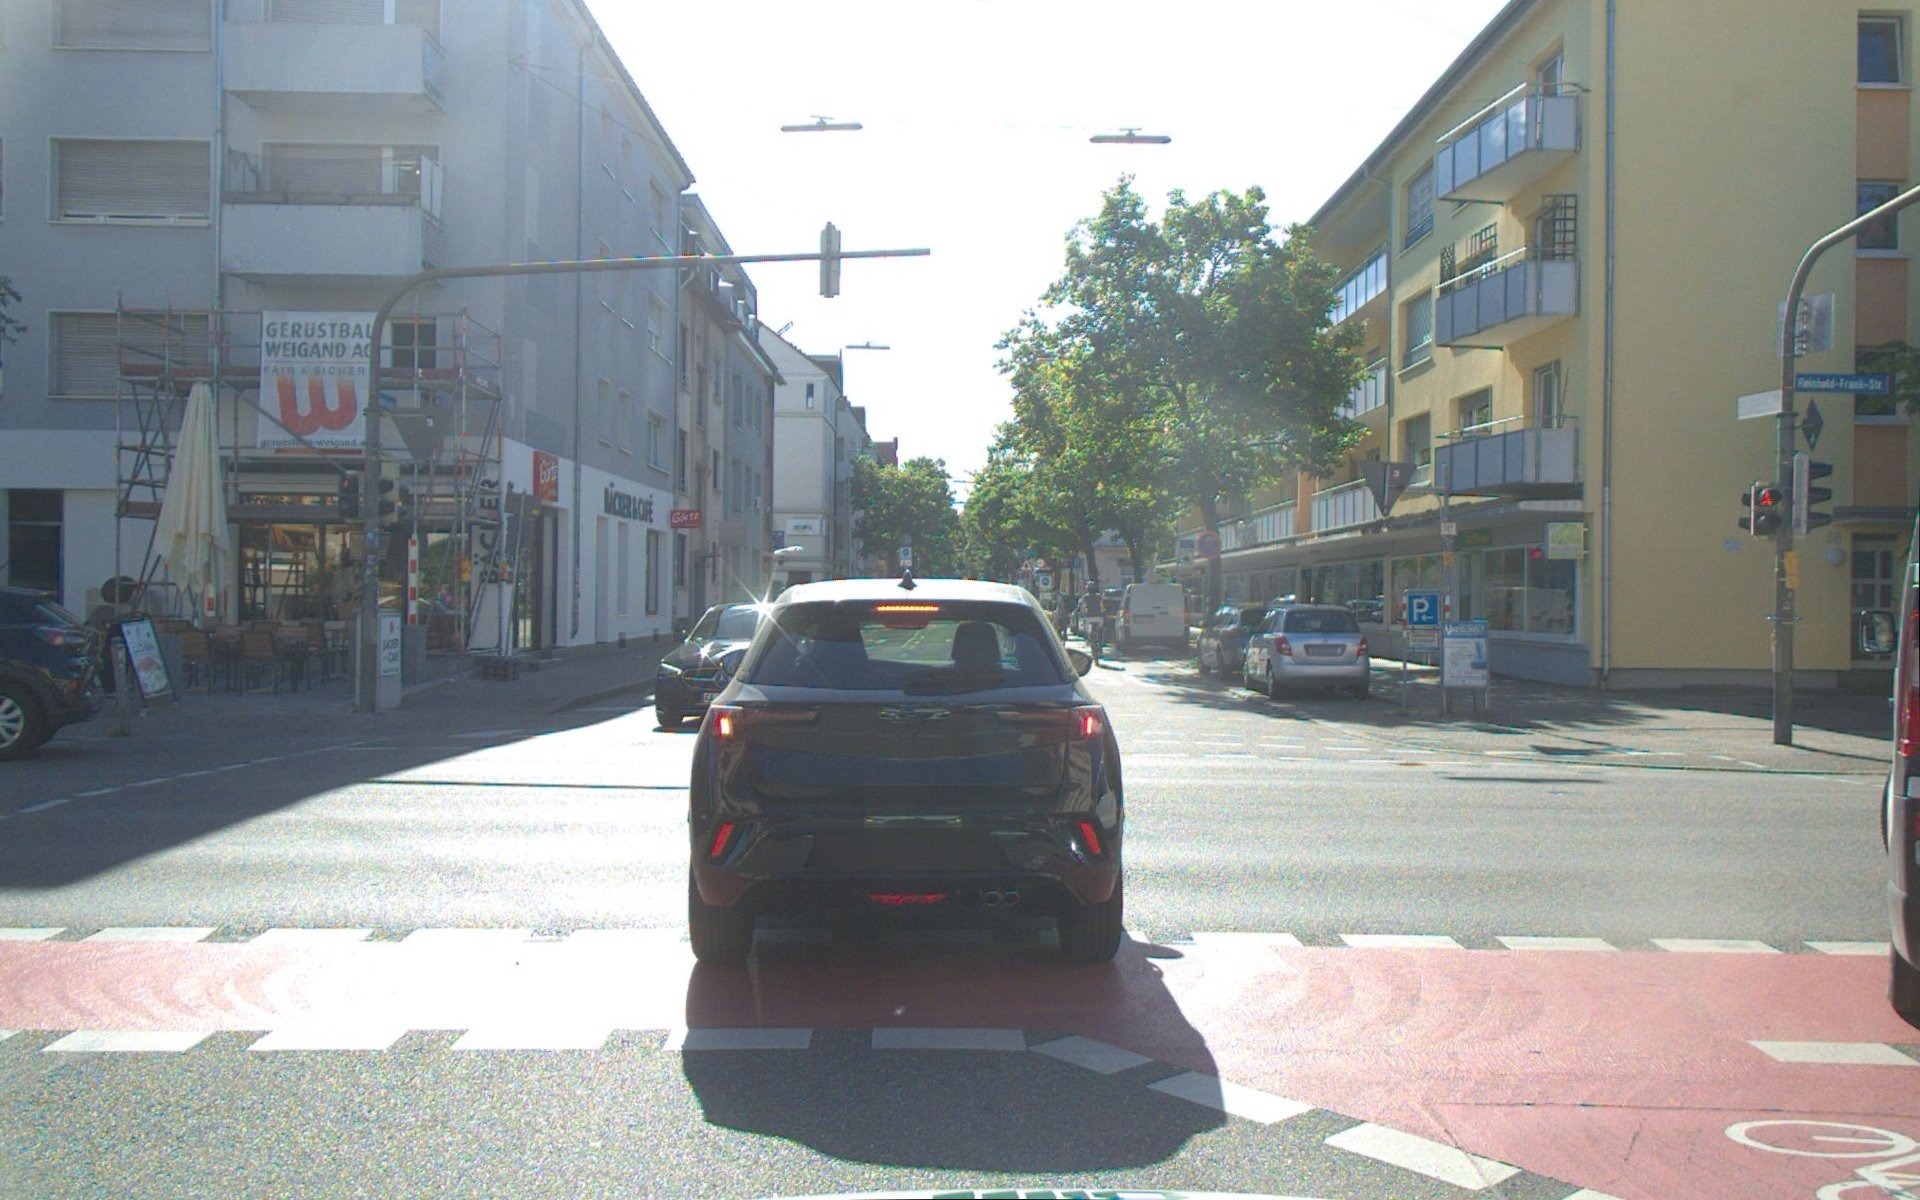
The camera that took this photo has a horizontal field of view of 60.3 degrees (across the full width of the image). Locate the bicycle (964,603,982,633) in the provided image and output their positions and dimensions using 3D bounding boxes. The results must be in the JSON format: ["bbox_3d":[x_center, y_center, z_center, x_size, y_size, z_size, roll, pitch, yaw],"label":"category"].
[{"bbox_3d":[0.484,0.655,61.062,0.619,1.059,1.795,0,0,-1],"label":"bicycle"}]

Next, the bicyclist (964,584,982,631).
[{"bbox_3d":[0.475,0.276,60.861,0.619,1.698,1.050,0,0,-1],"label":"bicyclist"}]

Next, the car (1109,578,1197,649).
[{"bbox_3d":[5.346,0.347,46.345,2.004,1.879,4.584,1,0,1],"label":"car"}]

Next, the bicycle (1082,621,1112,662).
[{"bbox_3d":[3.101,0.926,37.538,0.535,0.881,1.876,1,0,1],"label":"bicycle"}]

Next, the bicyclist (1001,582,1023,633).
[{"bbox_3d":[1.451,0.193,46.094,0.576,1.406,0.823,1,0,1],"label":"bicyclist"}]

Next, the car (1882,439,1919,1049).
[{"bbox_3d":[5.121,0.539,7.124,1.931,1.974,5.047,2,0,29],"label":"car"}]

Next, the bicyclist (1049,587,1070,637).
[{"bbox_3d":[2.827,0.346,46.952,0.535,1.406,0.823,1,0,1],"label":"bicyclist"}]

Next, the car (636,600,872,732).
[{"bbox_3d":[-2.468,0.756,20.950,1.766,1.437,4.430,-1,0,9],"label":"car"}]

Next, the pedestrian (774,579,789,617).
[{"bbox_3d":[-7.100,-0.065,65.793,0.566,1.493,0.702,1,0,-6],"label":"pedestrian"}]

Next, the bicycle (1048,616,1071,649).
[{"bbox_3d":[2.816,0.902,46.883,0.535,0.881,1.876,1,0,1],"label":"bicycle"}]

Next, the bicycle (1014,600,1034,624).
[{"bbox_3d":[2.400,0.442,62.238,0.677,0.881,1.876,1,0,1],"label":"bicycle"}]

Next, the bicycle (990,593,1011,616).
[{"bbox_3d":[1.778,0.175,73.070,0.839,0.961,2.307,3,0,-1],"label":"bicycle"}]

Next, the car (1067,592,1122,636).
[{"bbox_3d":[4.740,0.474,58.642,1.677,1.509,3.381,1,0,0],"label":"car"}]

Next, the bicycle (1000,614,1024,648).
[{"bbox_3d":[1.439,0.850,46.019,0.607,0.881,1.876,1,0,1],"label":"bicycle"}]

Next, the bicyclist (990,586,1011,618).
[{"bbox_3d":[1.785,0.084,72.969,0.839,1.337,1.210,3,0,-1],"label":"bicyclist"}]

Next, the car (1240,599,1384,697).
[{"bbox_3d":[5.828,0.749,27.764,1.677,1.509,3.480,1,0,0],"label":"car"}]

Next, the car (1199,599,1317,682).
[{"bbox_3d":[5.774,0.741,32.369,1.677,1.509,3.381,1,0,0],"label":"car"}]

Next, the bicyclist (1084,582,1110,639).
[{"bbox_3d":[3.102,0.231,37.468,0.535,1.284,0.803,1,0,1],"label":"bicyclist"}]

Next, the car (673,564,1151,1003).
[{"bbox_3d":[-0.190,0.676,8.035,1.726,1.586,3.999,1,0,-1],"label":"car"}]

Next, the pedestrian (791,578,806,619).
[{"bbox_3d":[-6.435,-0.057,65.850,0.566,1.610,0.707,1,0,-6],"label":"pedestrian"}]

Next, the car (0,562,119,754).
[{"bbox_3d":[-9.450,0.493,14.008,4.020,1.593,1.586,0,-1,-23],"label":"car"}]

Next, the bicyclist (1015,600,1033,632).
[{"bbox_3d":[2.403,0.599,62.210,0.677,1.214,0.595,1,0,1],"label":"bicyclist"}]
